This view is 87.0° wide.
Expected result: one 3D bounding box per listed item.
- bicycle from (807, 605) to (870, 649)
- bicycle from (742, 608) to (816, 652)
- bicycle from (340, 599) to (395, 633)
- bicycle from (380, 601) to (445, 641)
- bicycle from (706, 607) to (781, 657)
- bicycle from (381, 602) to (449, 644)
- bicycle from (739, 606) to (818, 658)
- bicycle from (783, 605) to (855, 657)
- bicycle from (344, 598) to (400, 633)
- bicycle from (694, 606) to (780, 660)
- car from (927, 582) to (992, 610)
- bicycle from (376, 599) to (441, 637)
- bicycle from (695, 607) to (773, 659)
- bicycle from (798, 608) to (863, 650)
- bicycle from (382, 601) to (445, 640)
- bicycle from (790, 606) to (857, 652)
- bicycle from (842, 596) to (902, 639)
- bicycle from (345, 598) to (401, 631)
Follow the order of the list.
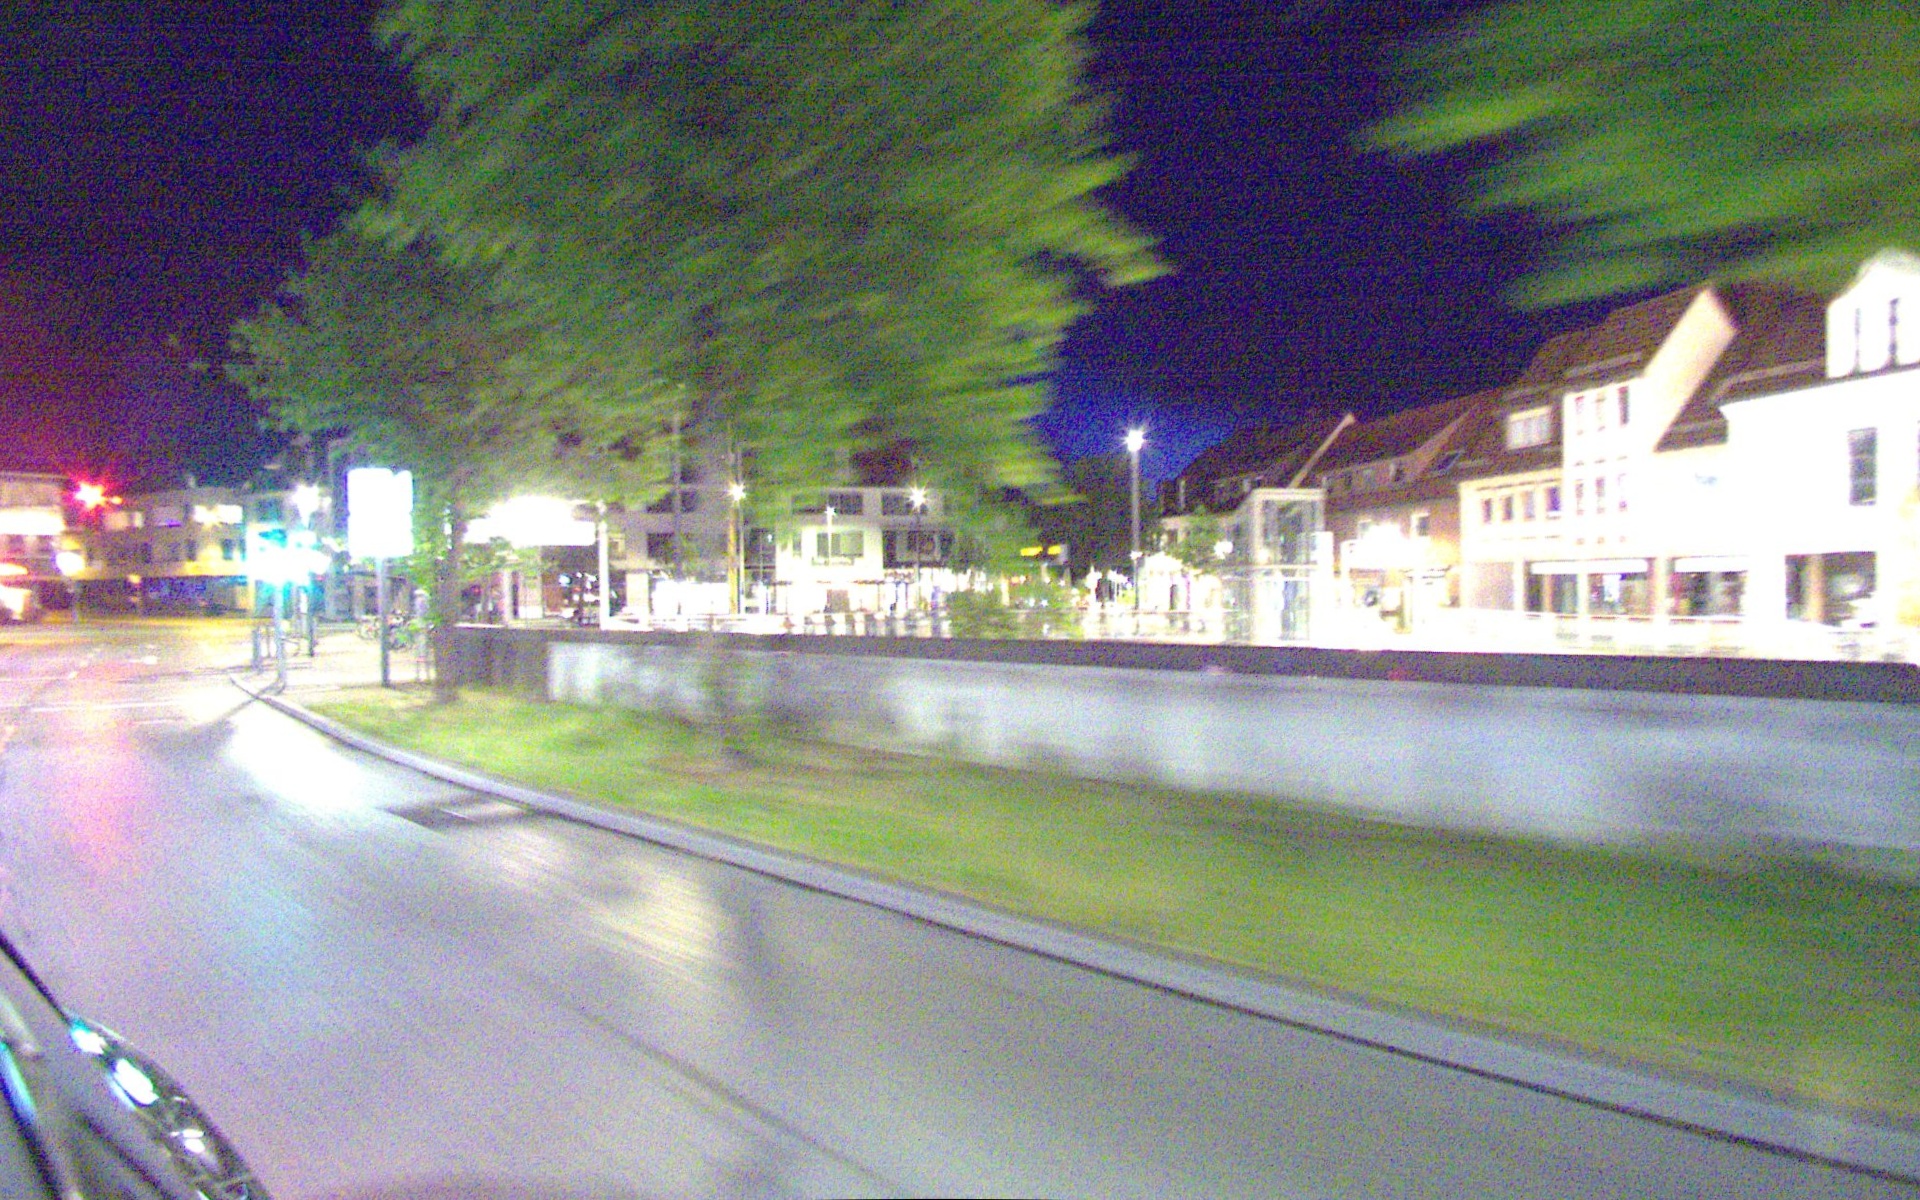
[{"bbox_3d":[-3.341,0.742,27.744,1.742,1.174,0.602,-2,-1,34],"label":"bicycle"},{"bbox_3d":[-4.554,0.765,25.467,1.731,1.078,0.606,-1,-1,16],"label":"bicycle"},{"bbox_3d":[-22.539,0.600,38.522,1.711,1.166,0.789,-4,3,-33],"label":"bicycle"},{"bbox_3d":[-16.262,0.615,30.056,1.595,1.114,0.671,-2,1,-39],"label":"bicycle"},{"bbox_3d":[-5.253,0.776,24.543,1.734,1.174,0.605,-1,-1,20],"label":"bicycle"},{"bbox_3d":[-15.572,0.642,28.931,1.595,1.114,0.671,-1,2,-39],"label":"bicycle"},{"bbox_3d":[-4.209,0.742,23.514,1.734,1.174,0.605,-1,-1,20],"label":"bicycle"},{"bbox_3d":[-3.362,0.733,23.989,1.743,1.174,0.602,-2,-1,35],"label":"bicycle"},{"bbox_3d":[-21.927,0.563,37.767,1.711,1.175,0.789,-4,2,-33],"label":"bicycle"},{"bbox_3d":[-4.954,0.732,22.522,1.734,1.171,0.756,-1,-1,20],"label":"bicycle"},{"bbox_3d":[-0.027,-0.287,74.747,4.341,1.951,1.967,0,-1,-24],"label":"car"},{"bbox_3d":[-17.714,0.572,32.514,1.746,1.173,0.671,-1,0,-39],"label":"bicycle"},{"bbox_3d":[-5.217,0.761,23.363,1.734,1.163,0.541,-1,-1,20],"label":"bicycle"},{"bbox_3d":[-3.463,0.773,26.976,1.742,1.109,0.602,-2,-1,34],"label":"bicycle"},{"bbox_3d":[-16.594,0.616,30.754,1.595,1.114,0.671,-1,1,-39],"label":"bicycle"},{"bbox_3d":[-3.521,0.749,26.008,1.742,1.133,0.602,-2,-1,34],"label":"bicycle"},{"bbox_3d":[-2.564,0.510,29.507,1.742,1.228,0.602,-2,-1,34],"label":"bicycle"},{"bbox_3d":[-23.116,0.544,39.858,1.809,1.166,0.789,-4,3,-33],"label":"bicycle"}]
